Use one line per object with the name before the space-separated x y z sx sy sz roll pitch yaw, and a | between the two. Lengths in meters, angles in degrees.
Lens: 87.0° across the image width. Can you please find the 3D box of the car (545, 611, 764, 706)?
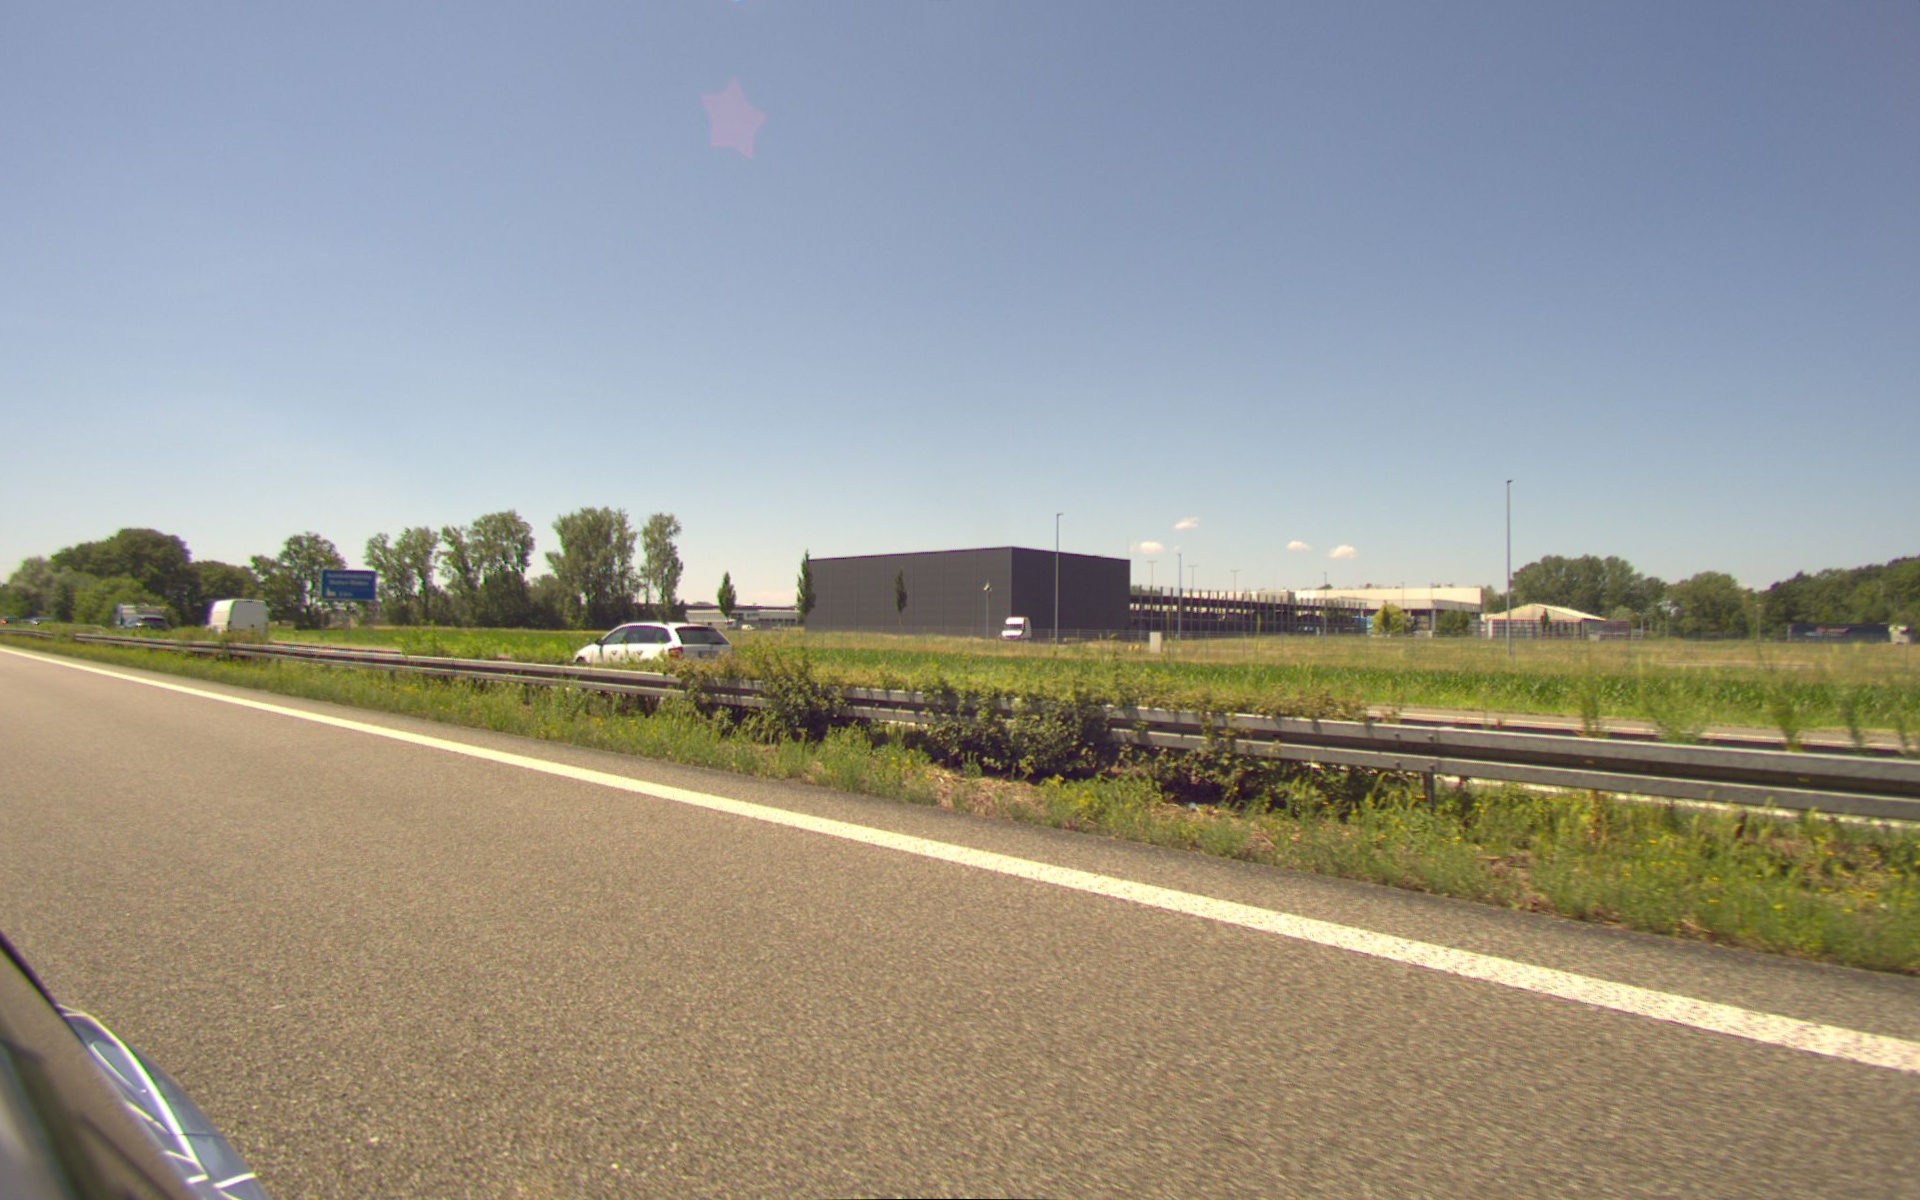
car | -6.721 1.190 21.901 5.416 1.820 2.023 -1 -3 42

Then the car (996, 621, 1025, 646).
car | 4.753 3.091 93.834 2.085 2.194 5.592 0 -2 9

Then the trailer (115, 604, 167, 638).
trailer | -82.686 2.131 102.100 9.257 3.262 2.646 -1 -2 42

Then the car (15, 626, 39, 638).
car | -132.664 4.514 143.822 5.662 1.652 1.972 -1 -3 42

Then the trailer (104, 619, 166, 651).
trailer | -47.624 2.027 58.398 4.855 1.772 1.972 -1 -3 42

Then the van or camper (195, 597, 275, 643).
van or camper | -43.131 1.216 60.146 6.174 2.553 2.396 -1 -4 41

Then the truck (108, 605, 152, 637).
truck | -87.170 2.183 106.230 5.837 3.275 2.669 -1 -2 42
